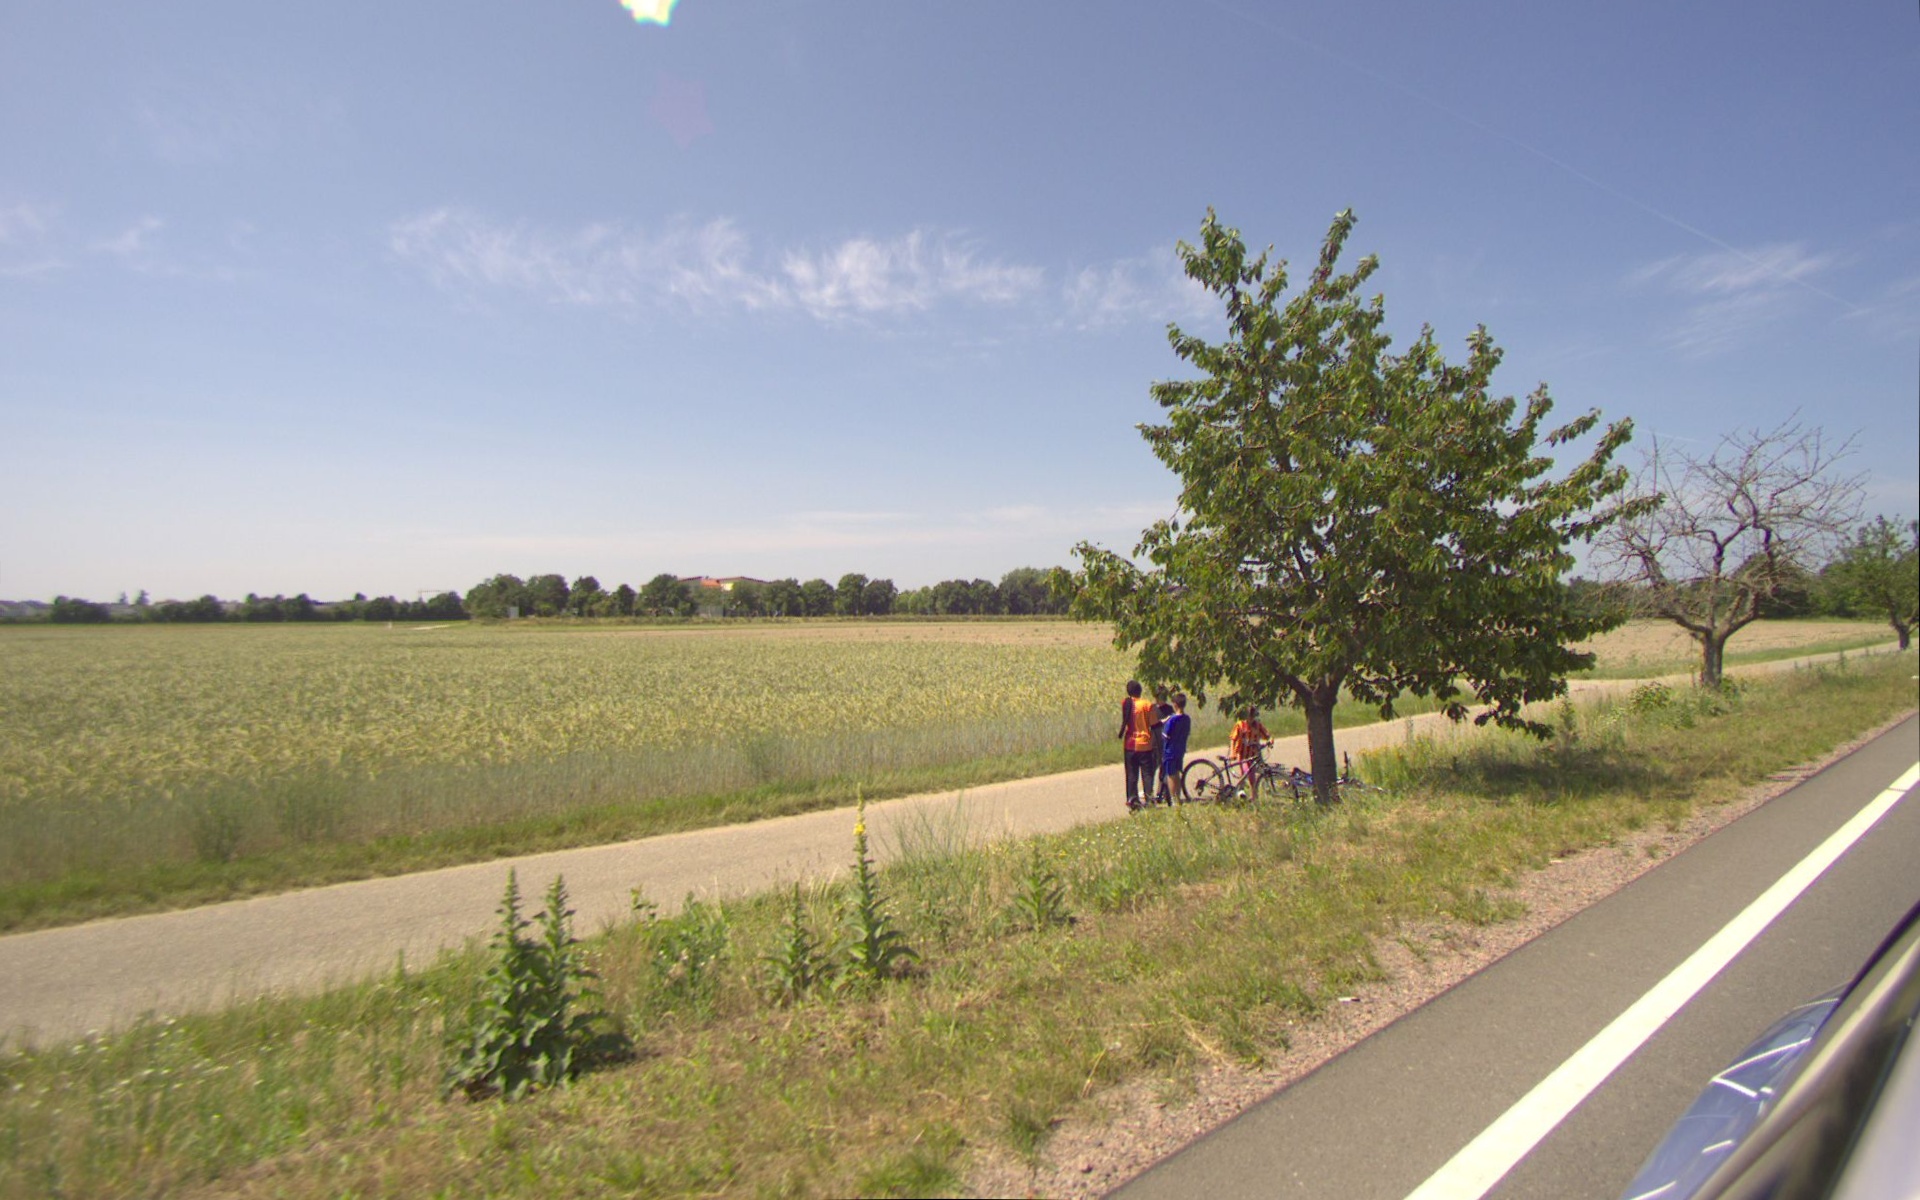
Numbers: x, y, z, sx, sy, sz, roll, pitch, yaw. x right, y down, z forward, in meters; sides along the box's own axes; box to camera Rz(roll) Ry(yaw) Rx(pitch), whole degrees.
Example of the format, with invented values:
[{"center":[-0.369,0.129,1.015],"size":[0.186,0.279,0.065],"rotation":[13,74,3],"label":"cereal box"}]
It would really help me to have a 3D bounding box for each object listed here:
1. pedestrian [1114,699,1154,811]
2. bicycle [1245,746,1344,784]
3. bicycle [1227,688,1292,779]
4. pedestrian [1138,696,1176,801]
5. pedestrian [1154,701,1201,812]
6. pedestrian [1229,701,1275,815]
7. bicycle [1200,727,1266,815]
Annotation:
[{"center":[2.182,1.937,12.724],"size":[0.434,1.331,0.487],"rotation":[0,-1,2],"label":"pedestrian"},{"center":[4.539,2.222,13.701],"size":[1.218,0.285,1.007],"rotation":[0,0,23],"label":"bicycle"},{"center":[4.621,2.010,15.544],"size":[0.473,1.180,1.661],"rotation":[-1,-1,34],"label":"bicycle"},{"center":[2.597,1.948,13.372],"size":[0.434,1.312,0.486],"rotation":[0,-1,5],"label":"pedestrian"},{"center":[2.727,1.950,12.721],"size":[0.433,1.312,0.488],"rotation":[0,-1,-8],"label":"pedestrian"},{"center":[3.645,1.954,12.628],"size":[0.438,1.312,0.482],"rotation":[0,-1,32],"label":"pedestrian"},{"center":[3.301,2.055,12.309],"size":[0.433,0.871,1.120],"rotation":[0,0,-4],"label":"bicycle"}]
